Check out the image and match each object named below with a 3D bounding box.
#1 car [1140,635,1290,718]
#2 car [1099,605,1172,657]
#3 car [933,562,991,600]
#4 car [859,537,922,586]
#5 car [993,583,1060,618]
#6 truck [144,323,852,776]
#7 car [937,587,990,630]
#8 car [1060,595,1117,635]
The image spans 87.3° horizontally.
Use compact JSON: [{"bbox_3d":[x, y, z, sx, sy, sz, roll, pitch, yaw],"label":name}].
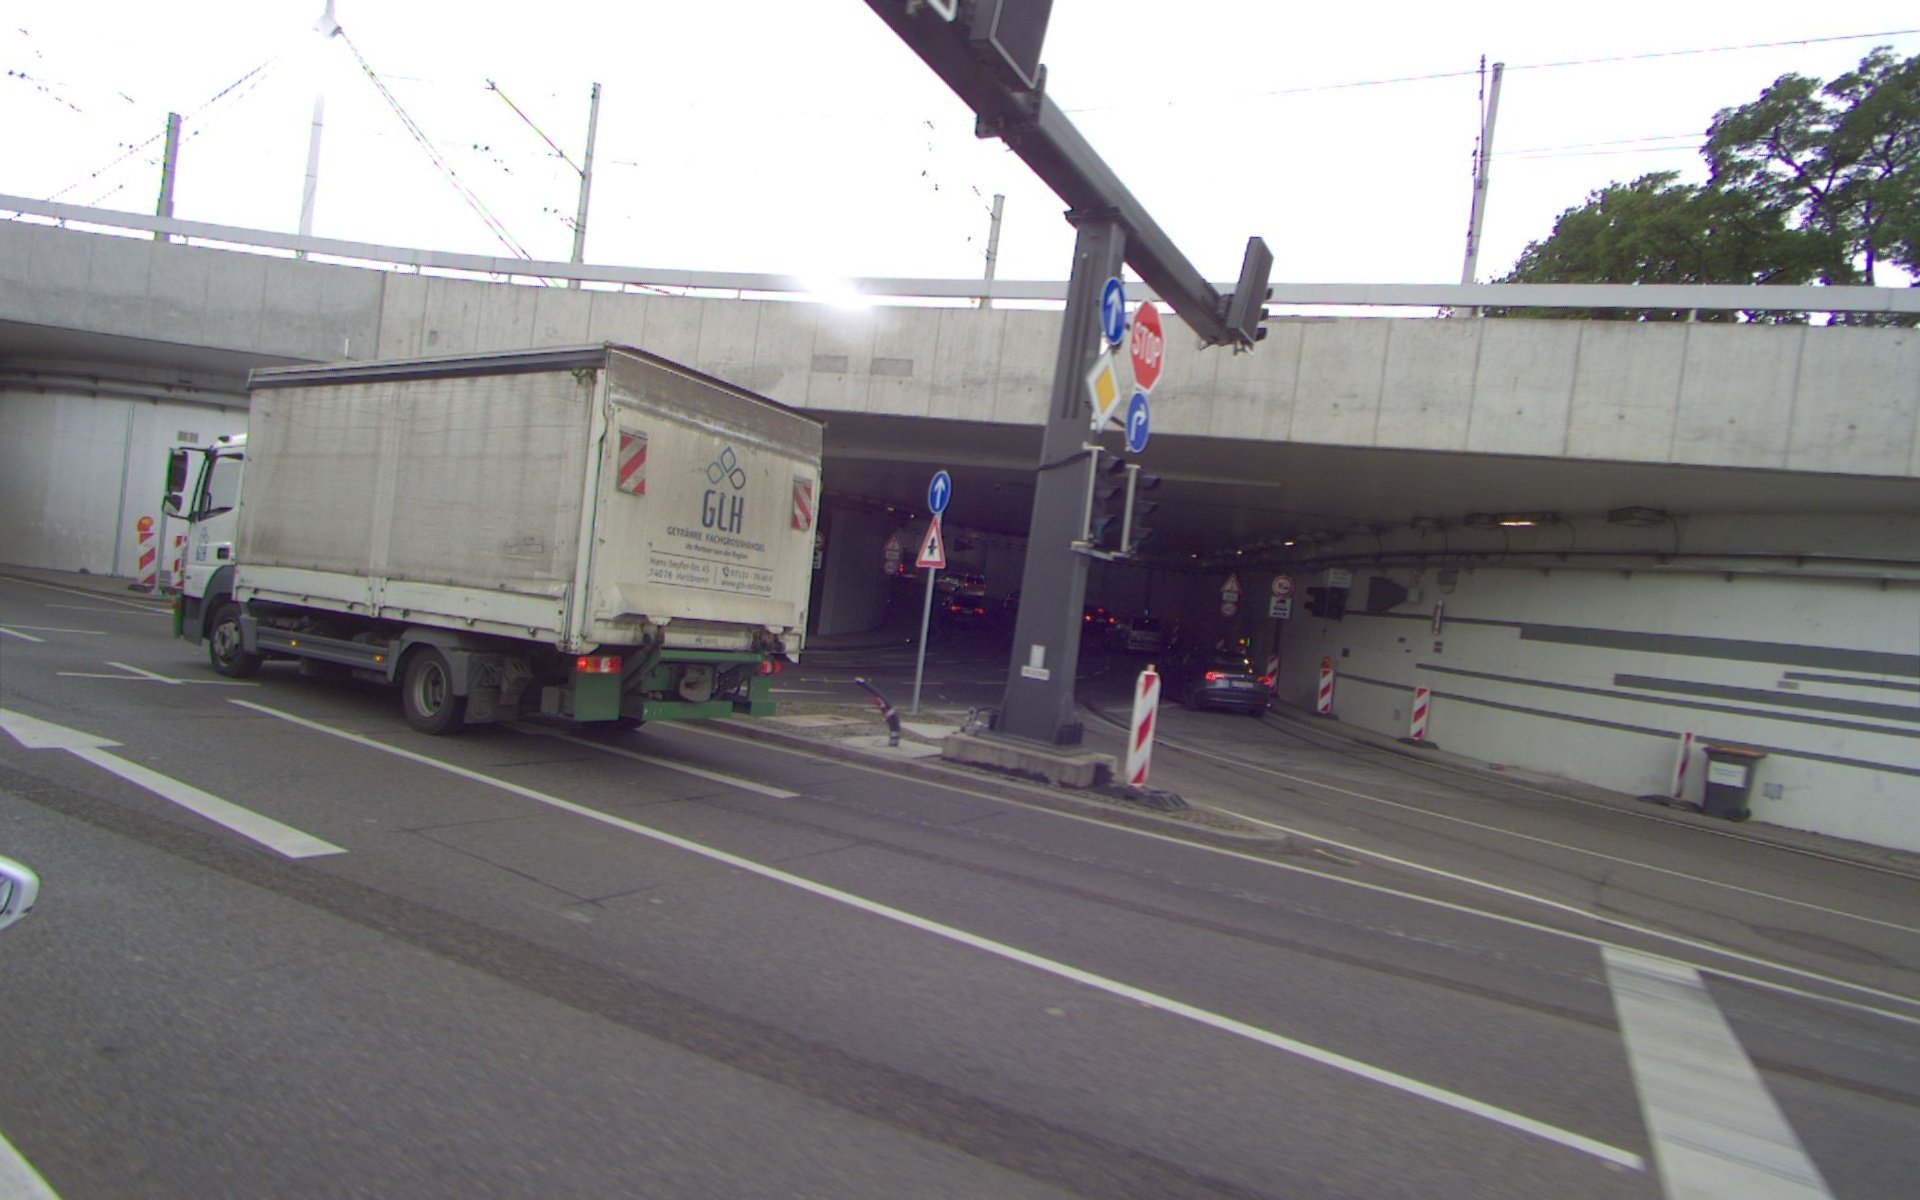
[{"bbox_3d":[6.045,1.781,24.478,1.964,1.420,4.460,5,1,-7],"label":"car"},{"bbox_3d":[7.806,1.344,45.122,1.964,1.859,4.353,6,1,-5],"label":"car"},{"bbox_3d":[0.122,-1.334,70.463,1.937,1.925,4.197,5,6,-33],"label":"car"},{"bbox_3d":[-5.310,-2.950,76.599,4.375,2.957,1.989,14,5,43],"label":"car"},{"bbox_3d":[4.140,-0.016,63.294,2.117,1.649,4.364,7,2,-27],"label":"car"},{"bbox_3d":[-4.955,-0.641,10.178,7.302,3.224,2.653,7,0,32],"label":"truck"},{"bbox_3d":[0.115,0.389,50.165,1.802,1.610,3.987,7,3,-11],"label":"car"},{"bbox_3d":[7.053,0.790,55.641,1.819,1.680,4.346,7,3,-9],"label":"car"}]
